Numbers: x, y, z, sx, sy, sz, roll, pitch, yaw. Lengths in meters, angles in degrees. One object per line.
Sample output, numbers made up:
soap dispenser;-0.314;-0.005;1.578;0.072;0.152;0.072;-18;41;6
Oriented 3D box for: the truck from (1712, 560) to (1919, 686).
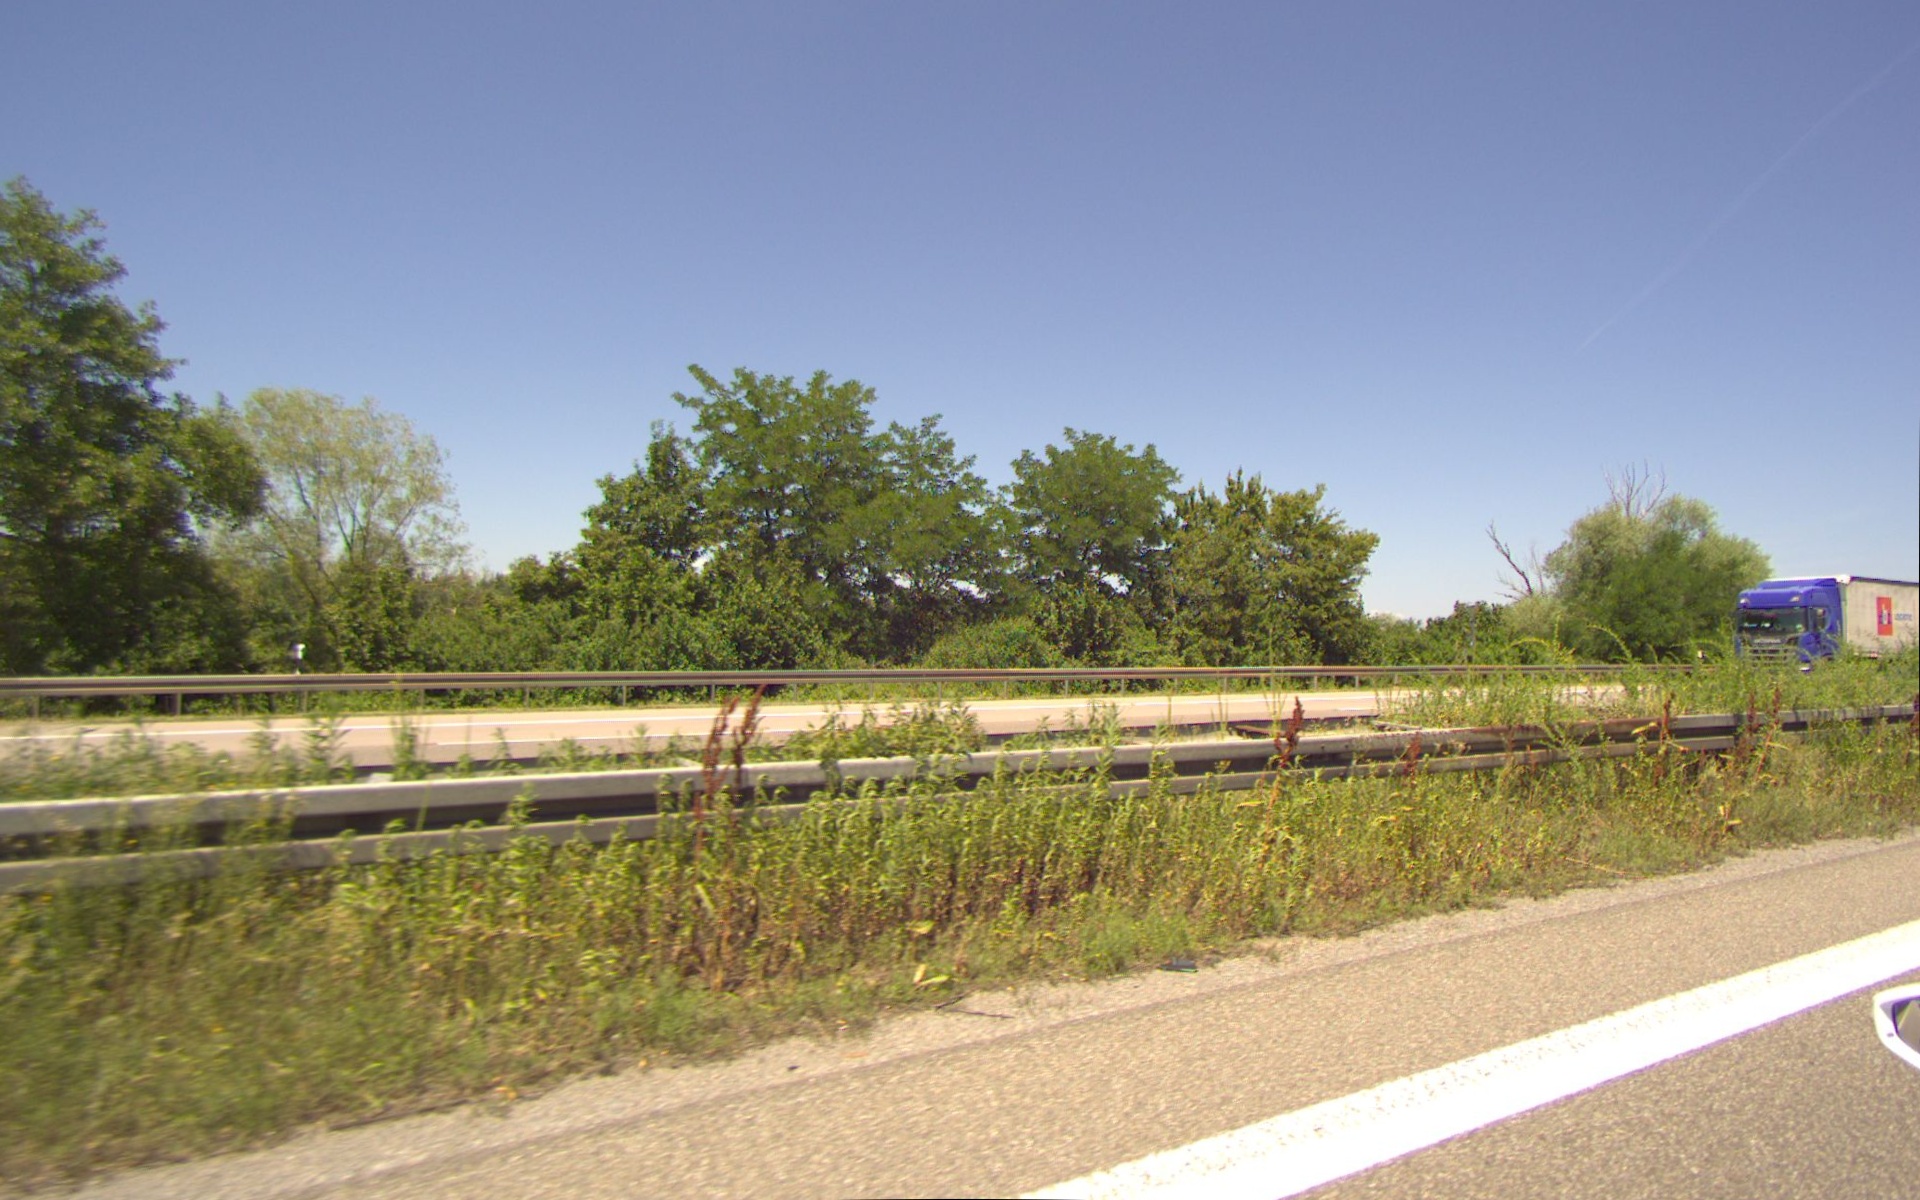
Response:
truck;36.319;1.104;40.454;17.260;4.399;2.942;2;-3;-30
